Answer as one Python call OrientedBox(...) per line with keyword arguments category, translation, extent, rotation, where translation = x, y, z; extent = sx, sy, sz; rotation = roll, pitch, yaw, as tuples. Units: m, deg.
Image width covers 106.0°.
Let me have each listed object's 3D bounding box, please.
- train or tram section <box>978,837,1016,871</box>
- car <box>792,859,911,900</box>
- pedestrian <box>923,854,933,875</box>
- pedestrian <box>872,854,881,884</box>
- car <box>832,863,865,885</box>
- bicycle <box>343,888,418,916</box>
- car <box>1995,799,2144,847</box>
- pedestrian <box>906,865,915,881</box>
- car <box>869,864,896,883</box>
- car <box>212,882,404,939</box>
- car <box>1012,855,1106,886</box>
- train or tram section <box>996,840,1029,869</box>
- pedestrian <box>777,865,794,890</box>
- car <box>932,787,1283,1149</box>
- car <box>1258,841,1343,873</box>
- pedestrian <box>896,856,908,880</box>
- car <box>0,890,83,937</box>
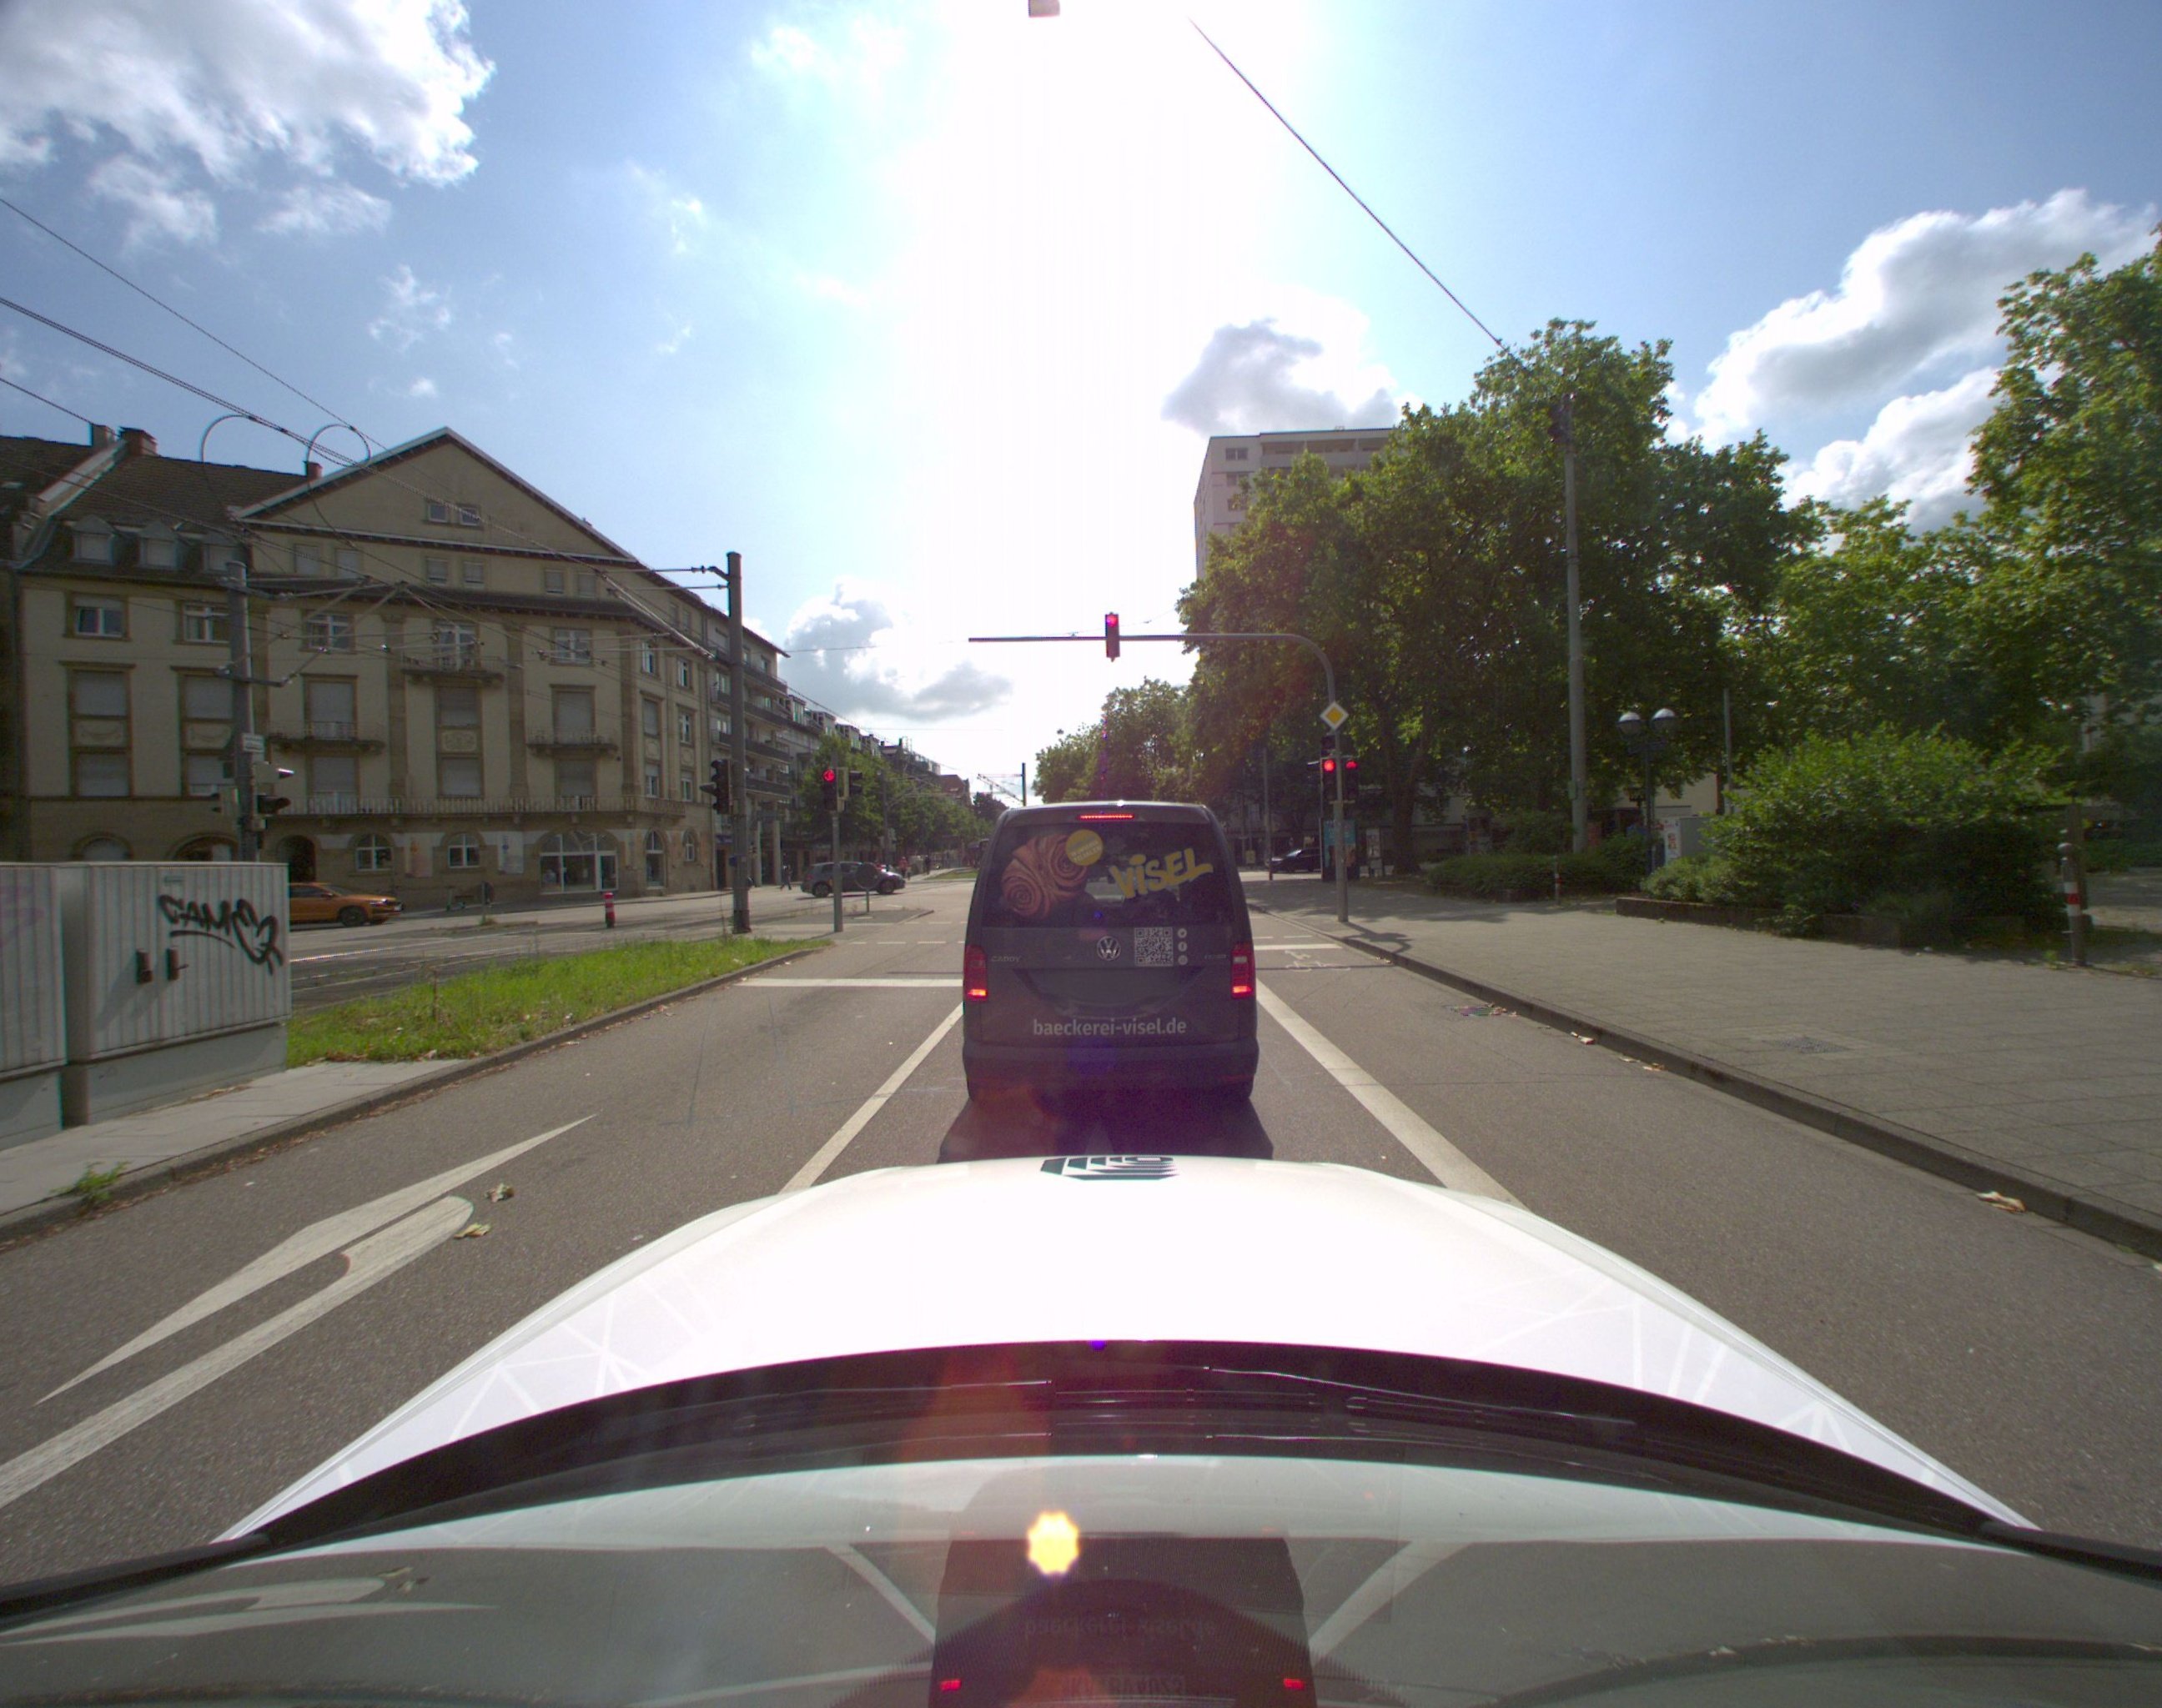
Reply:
OrientedBox(category="train or tram section", translation=(-9.003, 0.003, 88.763), extent=(2.232, 3.331, 12.978), rotation=(-2, 0, 2))
OrientedBox(category="car", translation=(-9.577, 1.048, 33.978), extent=(4.574, 1.436, 1.694), rotation=(-2, 0, -22))
OrientedBox(category="pedestrian", translation=(-12.561, 0.884, 66.841), extent=(0.656, 1.685, 0.656), rotation=(-2, 0, 2))
OrientedBox(category="pedestrian", translation=(-14.113, 1.026, 56.198), extent=(0.476, 2.013, 0.419), rotation=(-2, 0, -4))
OrientedBox(category="car", translation=(-23.586, 2.029, 82.623), extent=(1.986, 2.013, 4.002), rotation=(-2, 0, 2))
OrientedBox(category="bicycle", translation=(-31.996, 2.185, 37.276), extent=(0.797, 1.053, 2.576), rotation=(-2, 0, 14))
OrientedBox(category="car", translation=(46.891, -1.458, 38.728), extent=(4.396, 2.013, 2.079), rotation=(-2, 0, 3))
OrientedBox(category="pedestrian", translation=(-12.718, 1.389, 60.718), extent=(0.462, 1.144, 0.435), rotation=(-2, 0, 2))
OrientedBox(category="car", translation=(-23.309, 2.295, 95.587), extent=(1.986, 2.013, 4.002), rotation=(-2, 0, 2))
OrientedBox(category="car", translation=(-25.823, 1.856, 27.387), extent=(4.330, 1.546, 1.619), rotation=(-2, 0, -22))
OrientedBox(category="car", translation=(-1.129, 0.828, 41.792), extent=(4.499, 1.390, 1.694), rotation=(-2, 0, -22))
OrientedBox(category="train or tram section", translation=(-8.464, 0.015, 102.200), extent=(2.232, 3.331, 14.021), rotation=(-2, 0, 2))
OrientedBox(category="pedestrian", translation=(-19.117, 1.513, 52.750), extent=(0.865, 1.596, 0.687), rotation=(-2, 0, -32))
OrientedBox(category="car", translation=(0.198, 0.574, 5.848), extent=(1.743, 1.808, 3.476), rotation=(-1, 0, 2))
OrientedBox(category="car", translation=(12.685, 0.172, 47.046), extent=(4.497, 1.601, 1.850), rotation=(-2, 0, -22))
OrientedBox(category="pedestrian", translation=(-13.343, 1.029, 60.804), extent=(0.656, 1.784, 0.661), rotation=(-2, 0, 2))
OrientedBox(category="car", translation=(-41.524, 2.323, 32.122), extent=(3.950, 1.639, 1.813), rotation=(-2, 0, 26))
